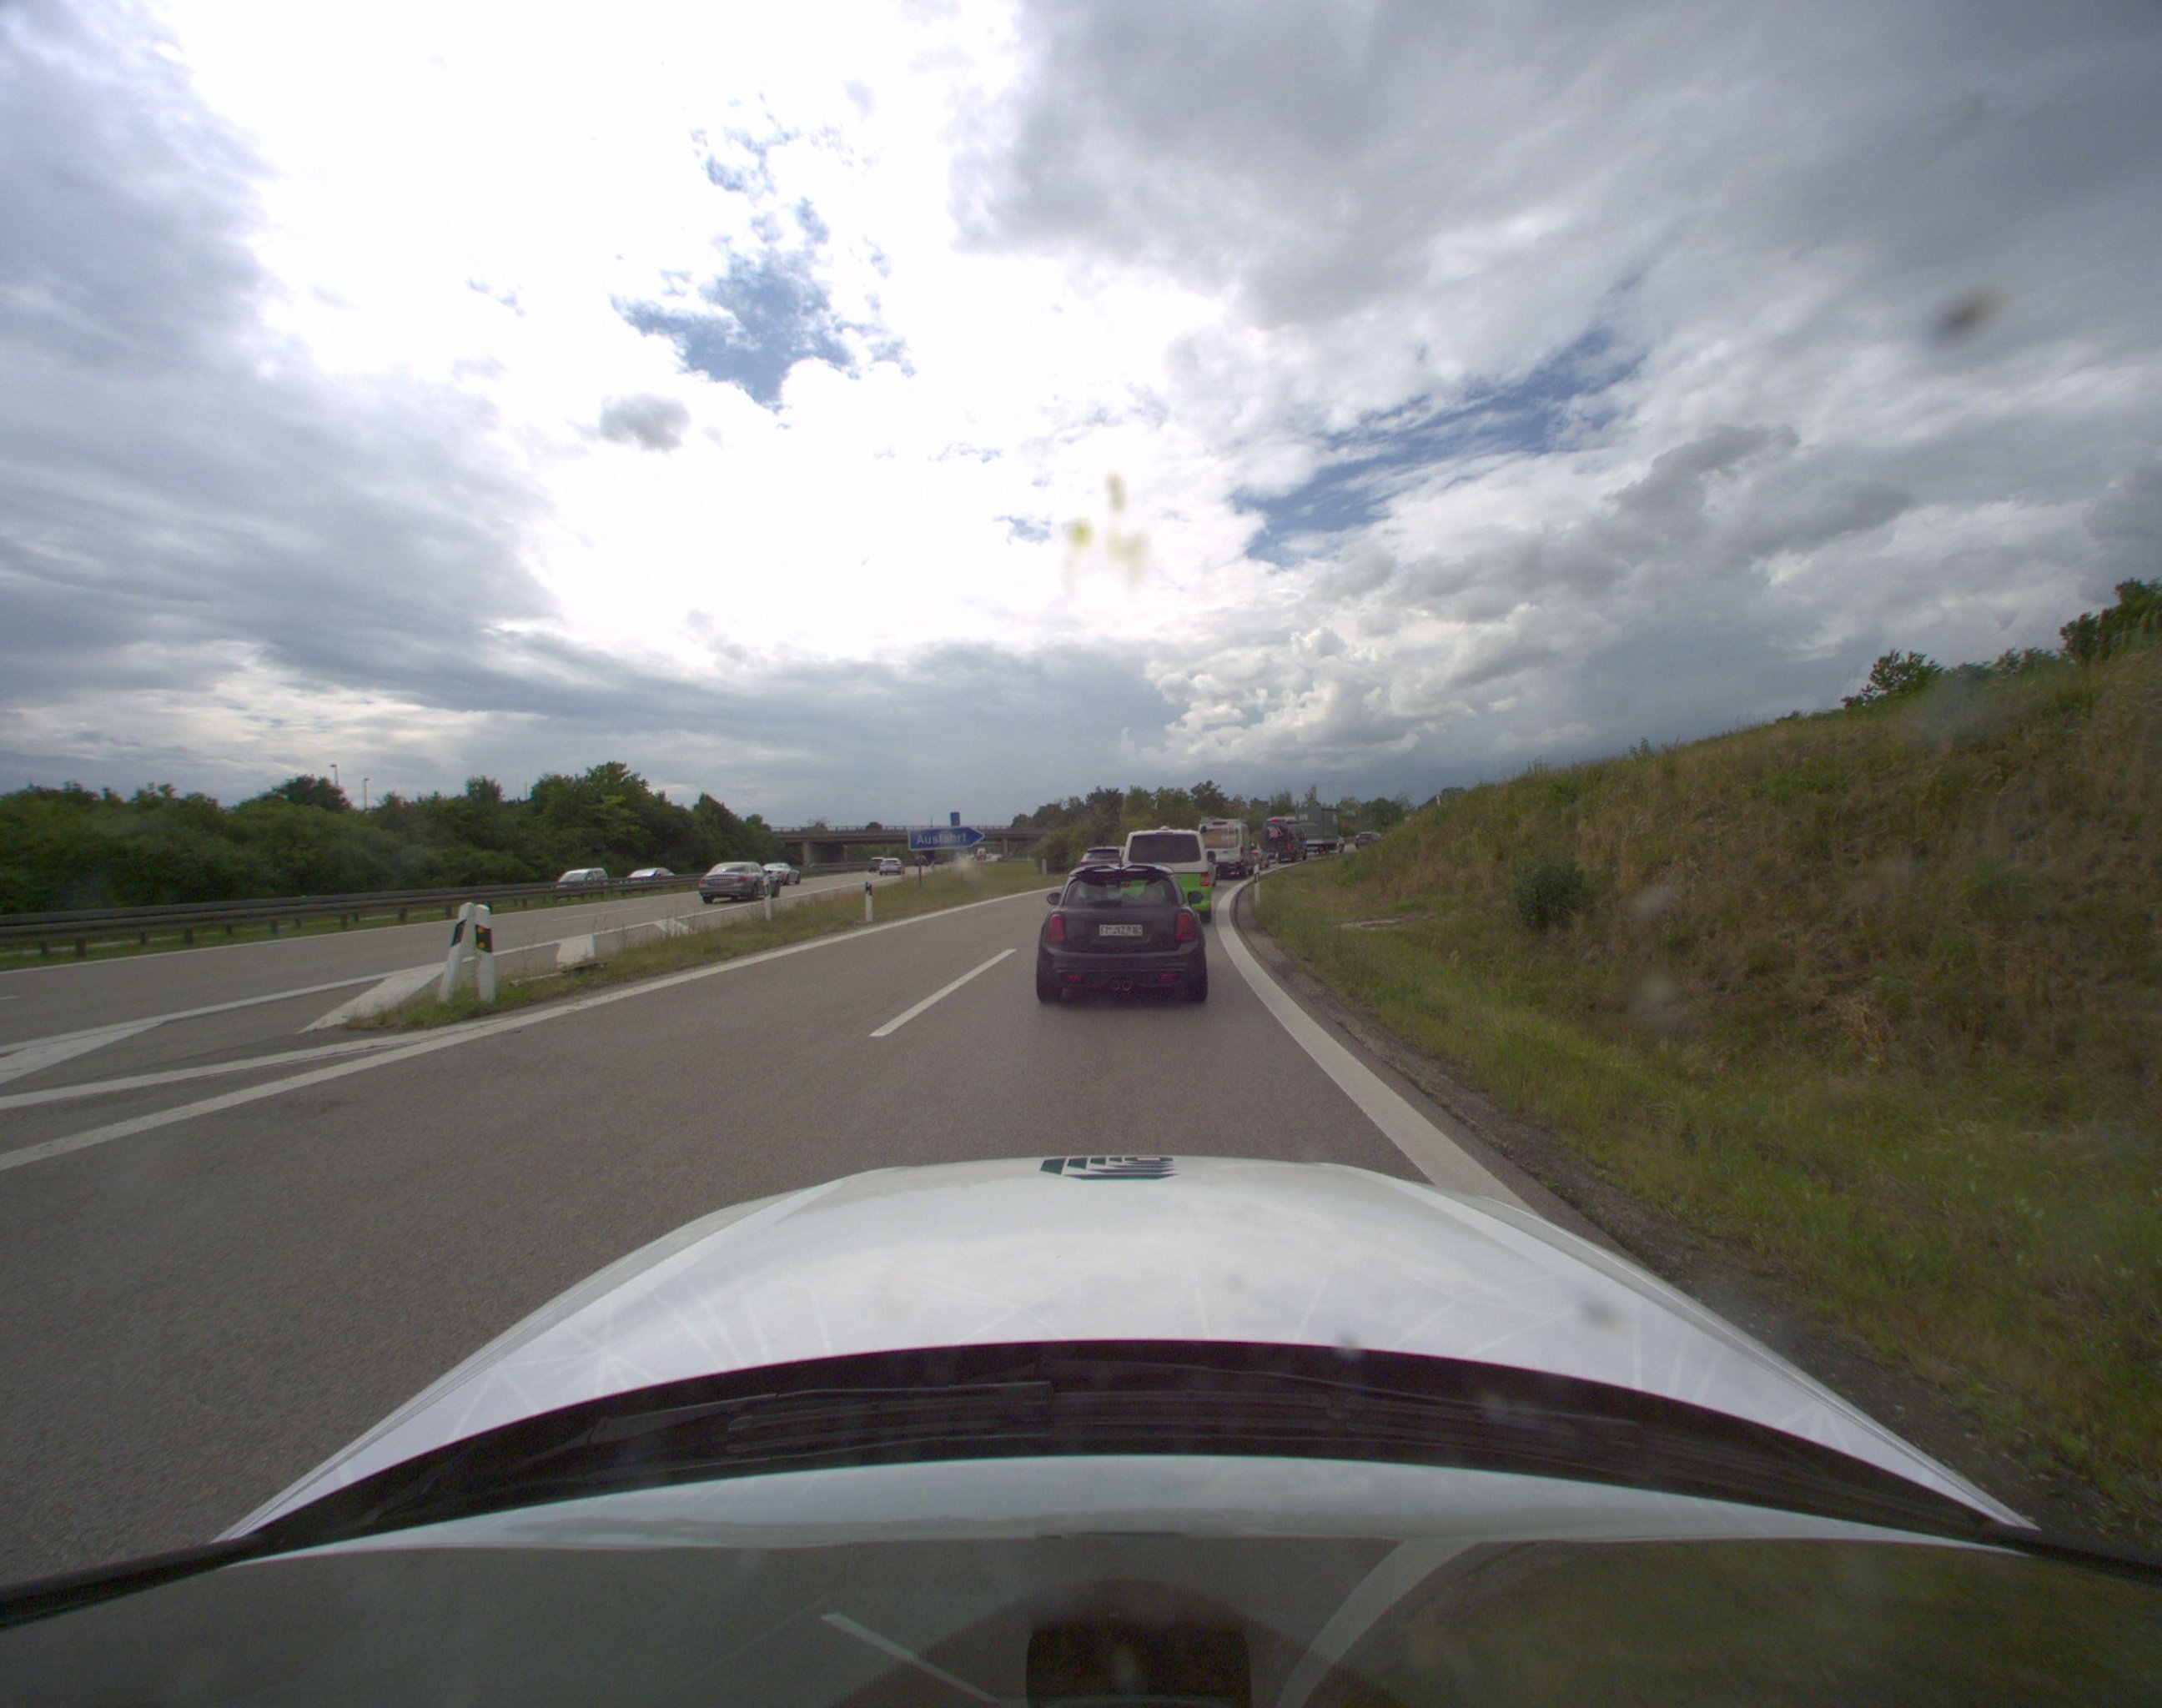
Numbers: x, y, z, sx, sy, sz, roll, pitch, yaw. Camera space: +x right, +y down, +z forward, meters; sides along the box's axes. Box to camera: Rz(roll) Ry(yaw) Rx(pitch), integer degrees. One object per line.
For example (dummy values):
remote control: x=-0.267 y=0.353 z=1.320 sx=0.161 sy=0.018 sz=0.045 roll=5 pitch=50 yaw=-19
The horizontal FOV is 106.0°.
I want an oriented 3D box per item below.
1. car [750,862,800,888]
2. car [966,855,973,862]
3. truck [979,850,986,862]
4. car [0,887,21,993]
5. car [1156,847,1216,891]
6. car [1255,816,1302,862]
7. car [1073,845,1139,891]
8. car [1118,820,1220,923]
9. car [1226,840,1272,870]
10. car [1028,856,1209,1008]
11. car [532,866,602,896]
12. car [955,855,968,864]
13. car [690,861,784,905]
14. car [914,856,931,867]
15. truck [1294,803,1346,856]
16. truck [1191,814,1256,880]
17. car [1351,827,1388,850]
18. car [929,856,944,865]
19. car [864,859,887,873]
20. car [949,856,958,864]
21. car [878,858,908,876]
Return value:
car: x=-18.519 y=1.249 z=49.473 sx=1.778 sy=1.398 sz=4.297 roll=-2 pitch=0 yaw=-6
car: x=-34.507 y=1.401 z=251.736 sx=1.989 sy=1.968 sz=3.995 roll=0 pitch=-1 yaw=-3
truck: x=-30.263 y=0.622 z=250.434 sx=2.142 sy=3.507 sz=3.993 roll=0 pitch=-1 yaw=-5
car: x=-15.176 y=1.181 z=8.848 sx=1.776 sy=1.398 sz=4.300 roll=-2 pitch=0 yaw=-4
car: x=3.747 y=0.477 z=28.600 sx=1.750 sy=1.398 sz=3.738 roll=-2 pitch=0 yaw=12
car: x=12.651 y=-0.919 z=51.948 sx=2.085 sy=2.796 sz=4.023 roll=-1 pitch=1 yaw=25
car: x=0.997 y=0.486 z=30.043 sx=1.784 sy=1.556 sz=3.973 roll=-1 pitch=-1 yaw=11
car: x=2.064 y=0.344 z=18.046 sx=1.772 sy=2.013 sz=4.014 roll=-1 pitch=0 yaw=12
car: x=9.261 y=0.033 z=44.698 sx=1.850 sy=1.510 sz=4.020 roll=-1 pitch=0 yaw=20
car: x=0.464 y=0.758 z=9.702 sx=1.720 sy=1.413 sz=3.728 roll=-1 pitch=0 yaw=3
car: x=-31.200 y=1.604 z=49.569 sx=1.991 sy=1.651 sz=3.992 roll=-2 pitch=0 yaw=-6
car: x=-23.483 y=1.139 z=159.828 sx=2.091 sy=1.670 sz=4.301 roll=-2 pitch=0 yaw=-3
car: x=-12.666 y=1.015 z=30.307 sx=1.776 sy=1.398 sz=4.544 roll=-2 pitch=0 yaw=-4
car: x=-25.547 y=1.224 z=131.466 sx=2.091 sy=1.670 sz=4.301 roll=-2 pitch=0 yaw=-3
truck: x=18.515 y=-1.784 z=62.880 sx=2.207 sy=3.906 sz=6.054 roll=-1 pitch=-1 yaw=32
truck: x=6.486 y=-0.345 z=36.605 sx=2.161 sy=2.658 sz=5.132 roll=-2 pitch=1 yaw=17
car: x=25.803 y=-1.364 z=72.876 sx=1.974 sy=2.014 sz=4.025 roll=-1 pitch=-1 yaw=37
car: x=-27.866 y=1.253 z=156.924 sx=2.155 sy=1.670 sz=4.301 roll=-2 pitch=0 yaw=-3
car: x=-22.569 y=1.338 z=89.575 sx=1.778 sy=1.398 sz=4.296 roll=-2 pitch=0 yaw=-7
car: x=-31.176 y=1.446 z=199.282 sx=2.067 sy=2.014 sz=3.991 roll=0 pitch=-1 yaw=-6
car: x=-16.442 y=1.134 z=71.358 sx=1.776 sy=1.398 sz=4.024 roll=-2 pitch=0 yaw=-3
